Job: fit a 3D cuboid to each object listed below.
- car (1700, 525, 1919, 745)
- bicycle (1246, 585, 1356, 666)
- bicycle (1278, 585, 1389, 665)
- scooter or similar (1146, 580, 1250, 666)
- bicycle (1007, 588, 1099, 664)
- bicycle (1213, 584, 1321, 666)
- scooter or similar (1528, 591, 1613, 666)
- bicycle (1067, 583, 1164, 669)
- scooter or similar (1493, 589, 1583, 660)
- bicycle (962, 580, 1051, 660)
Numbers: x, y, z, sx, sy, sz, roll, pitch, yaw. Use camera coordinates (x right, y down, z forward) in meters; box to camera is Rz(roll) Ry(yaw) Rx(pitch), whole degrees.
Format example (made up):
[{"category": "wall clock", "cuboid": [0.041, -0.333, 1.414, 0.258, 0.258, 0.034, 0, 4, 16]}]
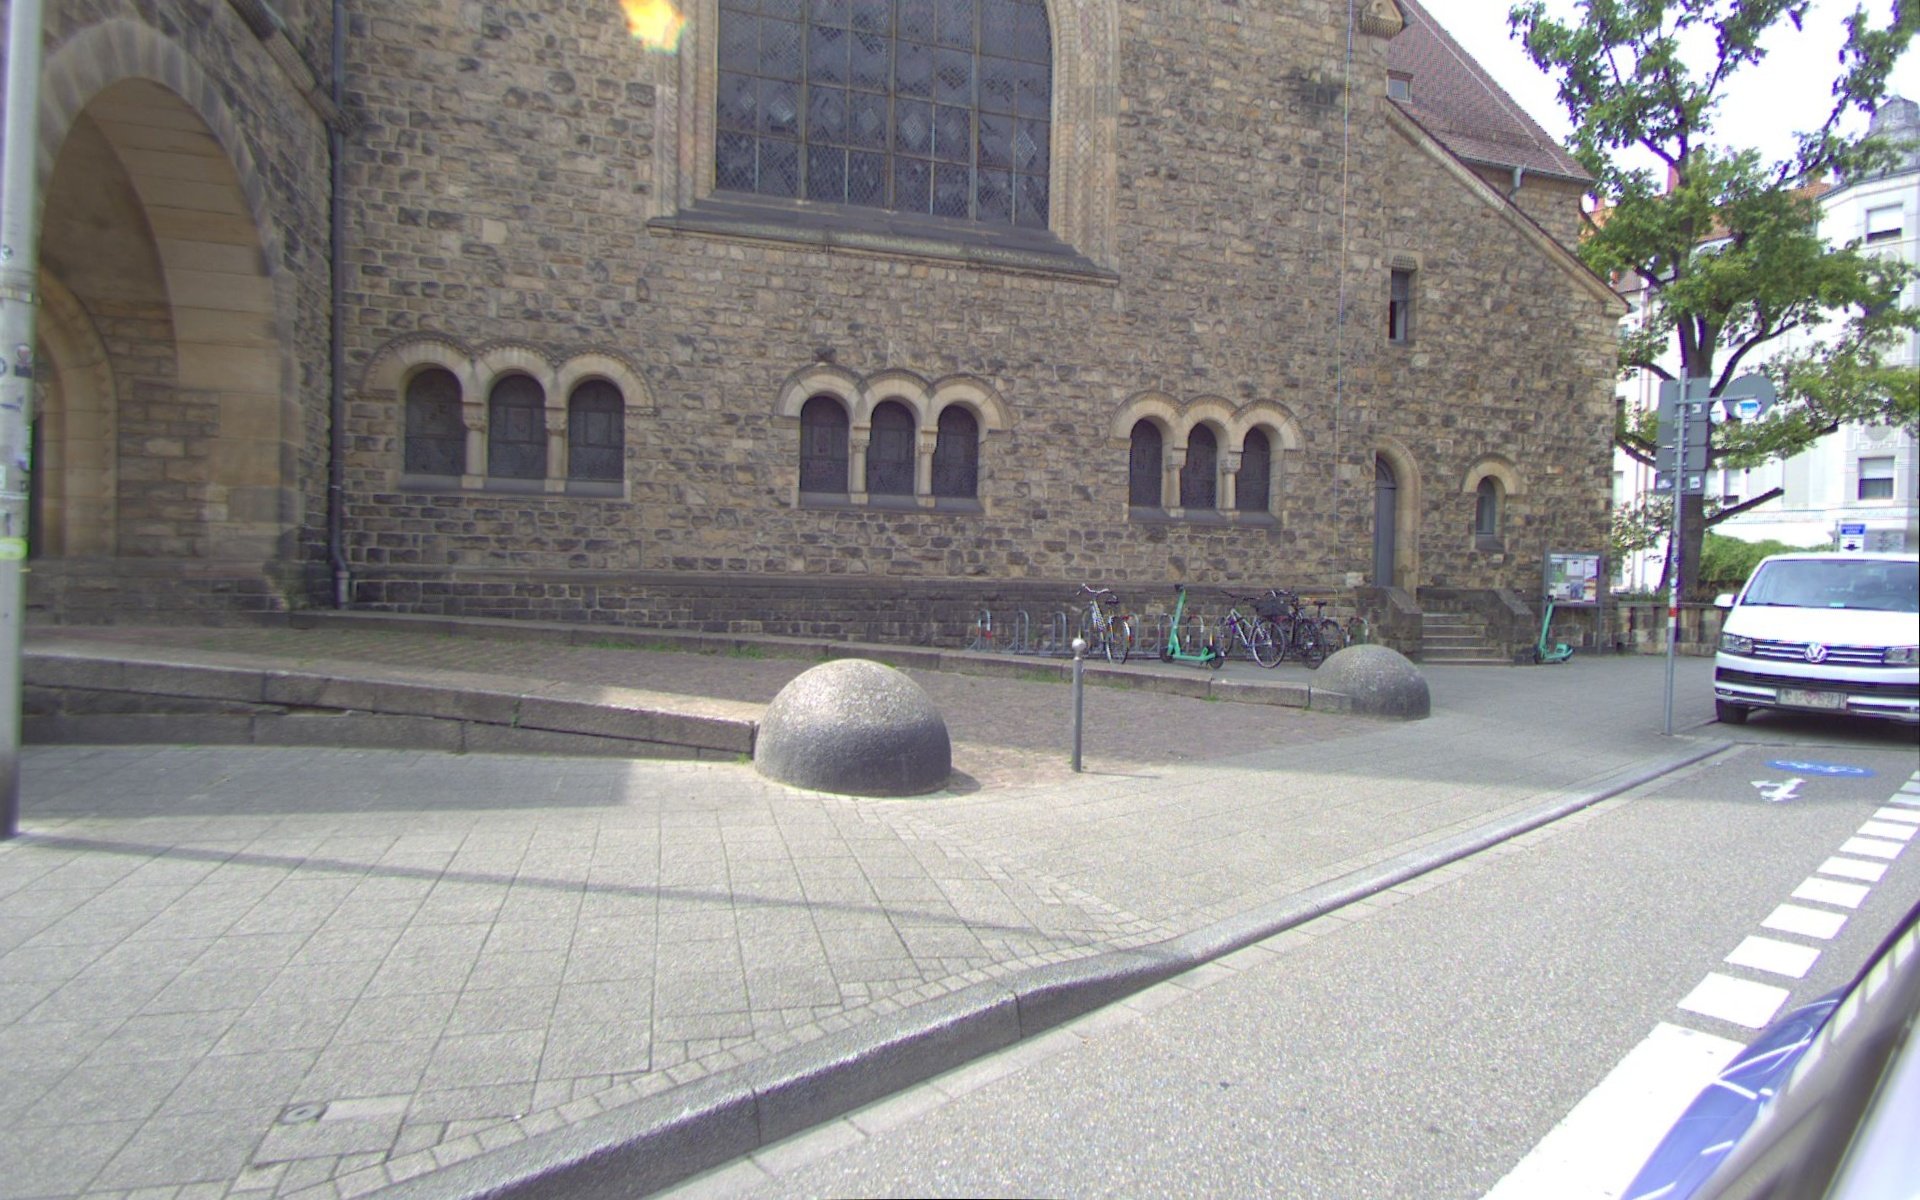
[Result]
[{"category": "car", "cuboid": [10.432, 0.266, 11.667, 5.036, 2.054, 2.018, -1, 3, -42]}, {"category": "bicycle", "cuboid": [5.145, 0.352, 15.401, 0.534, 1.125, 1.779, 1, 1, -21]}, {"category": "bicycle", "cuboid": [5.732, 0.361, 15.646, 0.534, 1.125, 1.786, 1, 1, -21]}, {"category": "scooter or similar", "cuboid": [3.453, 0.298, 14.852, 0.534, 1.154, 1.786, 1, 1, -21]}, {"category": "bicycle", "cuboid": [1.293, 0.337, 14.401, 0.534, 0.969, 1.786, 1, 1, -21]}, {"category": "bicycle", "cuboid": [4.574, 0.347, 15.201, 0.534, 1.125, 1.786, 1, 1, -21]}, {"category": "scooter or similar", "cuboid": [10.424, 0.476, 17.275, 1.413, 1.222, 0.547, 1, 1, -27]}, {"category": "bicycle", "cuboid": [2.206, 0.343, 14.614, 0.534, 1.125, 1.786, 1, 1, -21]}, {"category": "scooter or similar", "cuboid": [10.252, 0.435, 17.937, 1.450, 1.222, 0.547, 1, 1, -21]}, {"category": "bicycle", "cuboid": [0.618, 0.245, 14.193, 0.534, 0.969, 1.787, 1, 3, -21]}]
